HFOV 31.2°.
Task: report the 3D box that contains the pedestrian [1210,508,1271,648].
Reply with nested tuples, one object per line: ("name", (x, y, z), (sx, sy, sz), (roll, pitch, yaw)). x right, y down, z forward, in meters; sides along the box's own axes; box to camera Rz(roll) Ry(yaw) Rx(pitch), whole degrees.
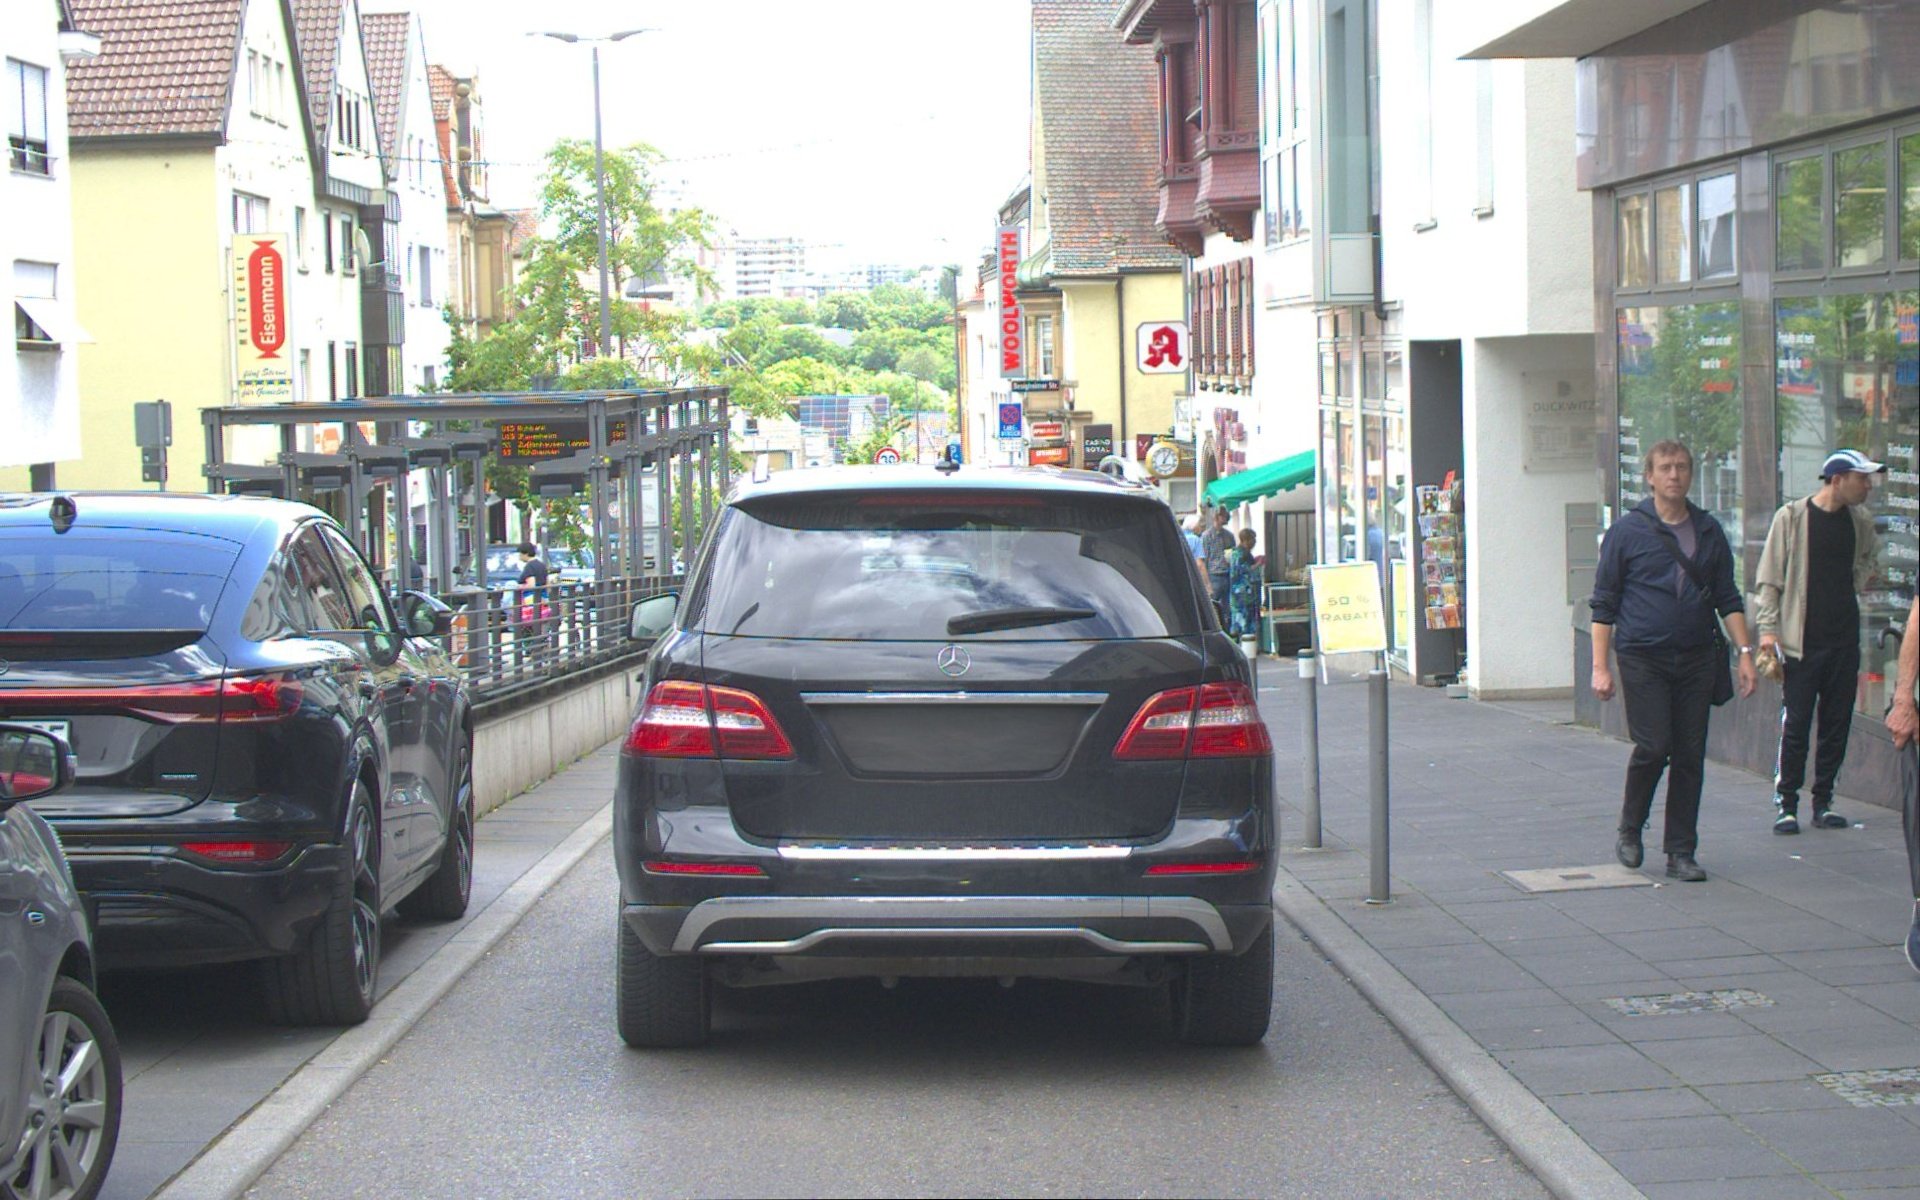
("pedestrian", (3.443, -0.277, 42.291), (0.573, 1.683, 0.566), (-3, 1, -7))

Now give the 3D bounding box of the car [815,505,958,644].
("car", (-0.961, -0.358, 44.784), (1.770, 1.707, 4.000), (0, 1, -1))

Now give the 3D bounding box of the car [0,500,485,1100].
("car", (-2.794, 0.501, 11.508), (1.956, 1.634, 4.315), (0, 1, -2))

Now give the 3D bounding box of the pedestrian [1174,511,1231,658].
("pedestrian", (2.882, -0.188, 40.890), (0.542, 1.720, 0.528), (-2, 1, -7))

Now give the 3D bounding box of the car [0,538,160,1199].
("car", (-2.579, 0.660, 5.895), (1.620, 1.527, 3.671), (0, 1, -1))

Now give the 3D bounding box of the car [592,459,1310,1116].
("car", (-0.113, 0.463, 11.145), (1.900, 1.741, 4.001), (0, 1, -3))

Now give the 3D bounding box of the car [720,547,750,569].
("car", (-11.825, -2.218, 181.069), (1.388, 1.066, 3.113), (-2, 1, -1))

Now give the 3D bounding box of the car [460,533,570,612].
("car", (-8.717, -0.568, 67.562), (1.689, 1.484, 3.979), (0, 1, -1))

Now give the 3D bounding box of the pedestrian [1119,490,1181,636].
("pedestrian", (2.200, -0.432, 39.881), (0.621, 1.683, 0.566), (0, 1, -7))

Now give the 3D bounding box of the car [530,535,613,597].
("car", (-9.573, -0.855, 84.828), (1.660, 1.484, 3.748), (0, 1, -1))

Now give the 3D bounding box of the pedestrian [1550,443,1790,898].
("pedestrian", (2.846, 0.267, 13.842), (0.711, 1.747, 0.787), (-3, 1, -1))

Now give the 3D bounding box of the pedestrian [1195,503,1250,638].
("pedestrian", (3.301, -0.374, 43.216), (0.573, 1.683, 0.566), (0, 1, -7))

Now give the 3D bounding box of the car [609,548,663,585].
("car", (-10.100, -1.047, 107.387), (1.388, 1.066, 3.113), (-2, 1, -1))

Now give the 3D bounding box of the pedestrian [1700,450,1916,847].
("pedestrian", (3.765, 0.207, 15.291), (0.662, 1.683, 0.543), (-5, 2, -7))

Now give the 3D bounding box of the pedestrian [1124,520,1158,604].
("pedestrian", (3.714, -0.783, 70.552), (0.606, 1.683, 0.724), (-2, 1, -1))

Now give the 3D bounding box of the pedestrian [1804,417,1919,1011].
("pedestrian", (3.082, 0.313, 10.527), (0.711, 1.747, 0.785), (-3, 1, -1))

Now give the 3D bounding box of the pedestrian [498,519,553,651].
("pedestrian", (-5.590, -0.193, 44.262), (0.625, 1.683, 0.679), (0, 1, -1))

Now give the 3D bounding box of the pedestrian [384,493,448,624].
("pedestrian", (-7.056, -0.535, 44.579), (0.612, 1.683, 0.562), (1, 1, 20))
